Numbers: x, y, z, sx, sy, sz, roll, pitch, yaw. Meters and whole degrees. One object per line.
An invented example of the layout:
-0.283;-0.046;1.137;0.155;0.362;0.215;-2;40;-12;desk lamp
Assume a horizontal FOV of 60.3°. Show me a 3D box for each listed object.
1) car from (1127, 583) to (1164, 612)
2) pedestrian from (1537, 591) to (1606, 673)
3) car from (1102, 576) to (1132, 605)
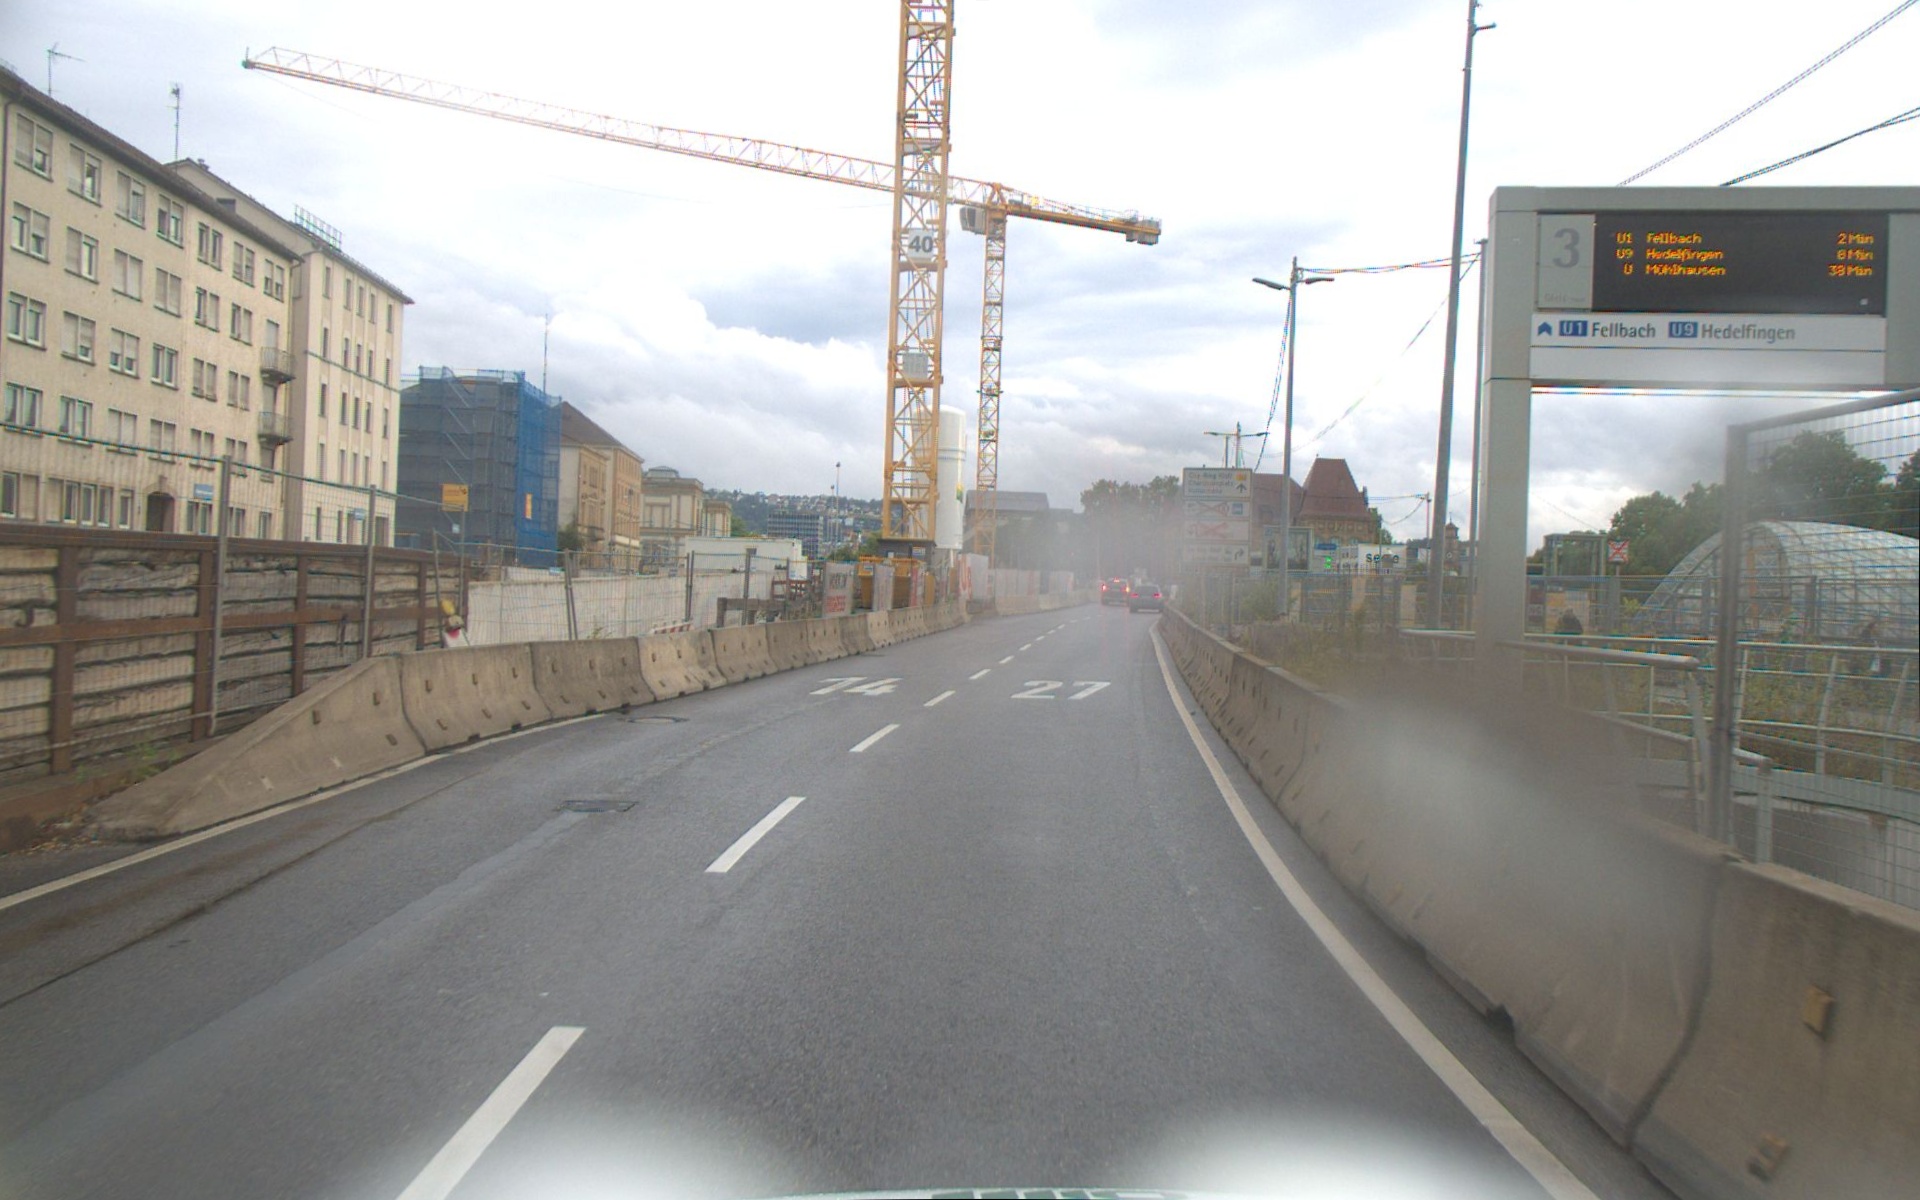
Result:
9.654;-0.110;86.374;1.823;1.458;4.659;-1;0;5;car
12.878;0.669;34.845;1.006;1.687;0.893;2;-1;-23;pedestrian
9.997;-0.598;105.300;1.823;1.689;4.659;2;1;6;car
